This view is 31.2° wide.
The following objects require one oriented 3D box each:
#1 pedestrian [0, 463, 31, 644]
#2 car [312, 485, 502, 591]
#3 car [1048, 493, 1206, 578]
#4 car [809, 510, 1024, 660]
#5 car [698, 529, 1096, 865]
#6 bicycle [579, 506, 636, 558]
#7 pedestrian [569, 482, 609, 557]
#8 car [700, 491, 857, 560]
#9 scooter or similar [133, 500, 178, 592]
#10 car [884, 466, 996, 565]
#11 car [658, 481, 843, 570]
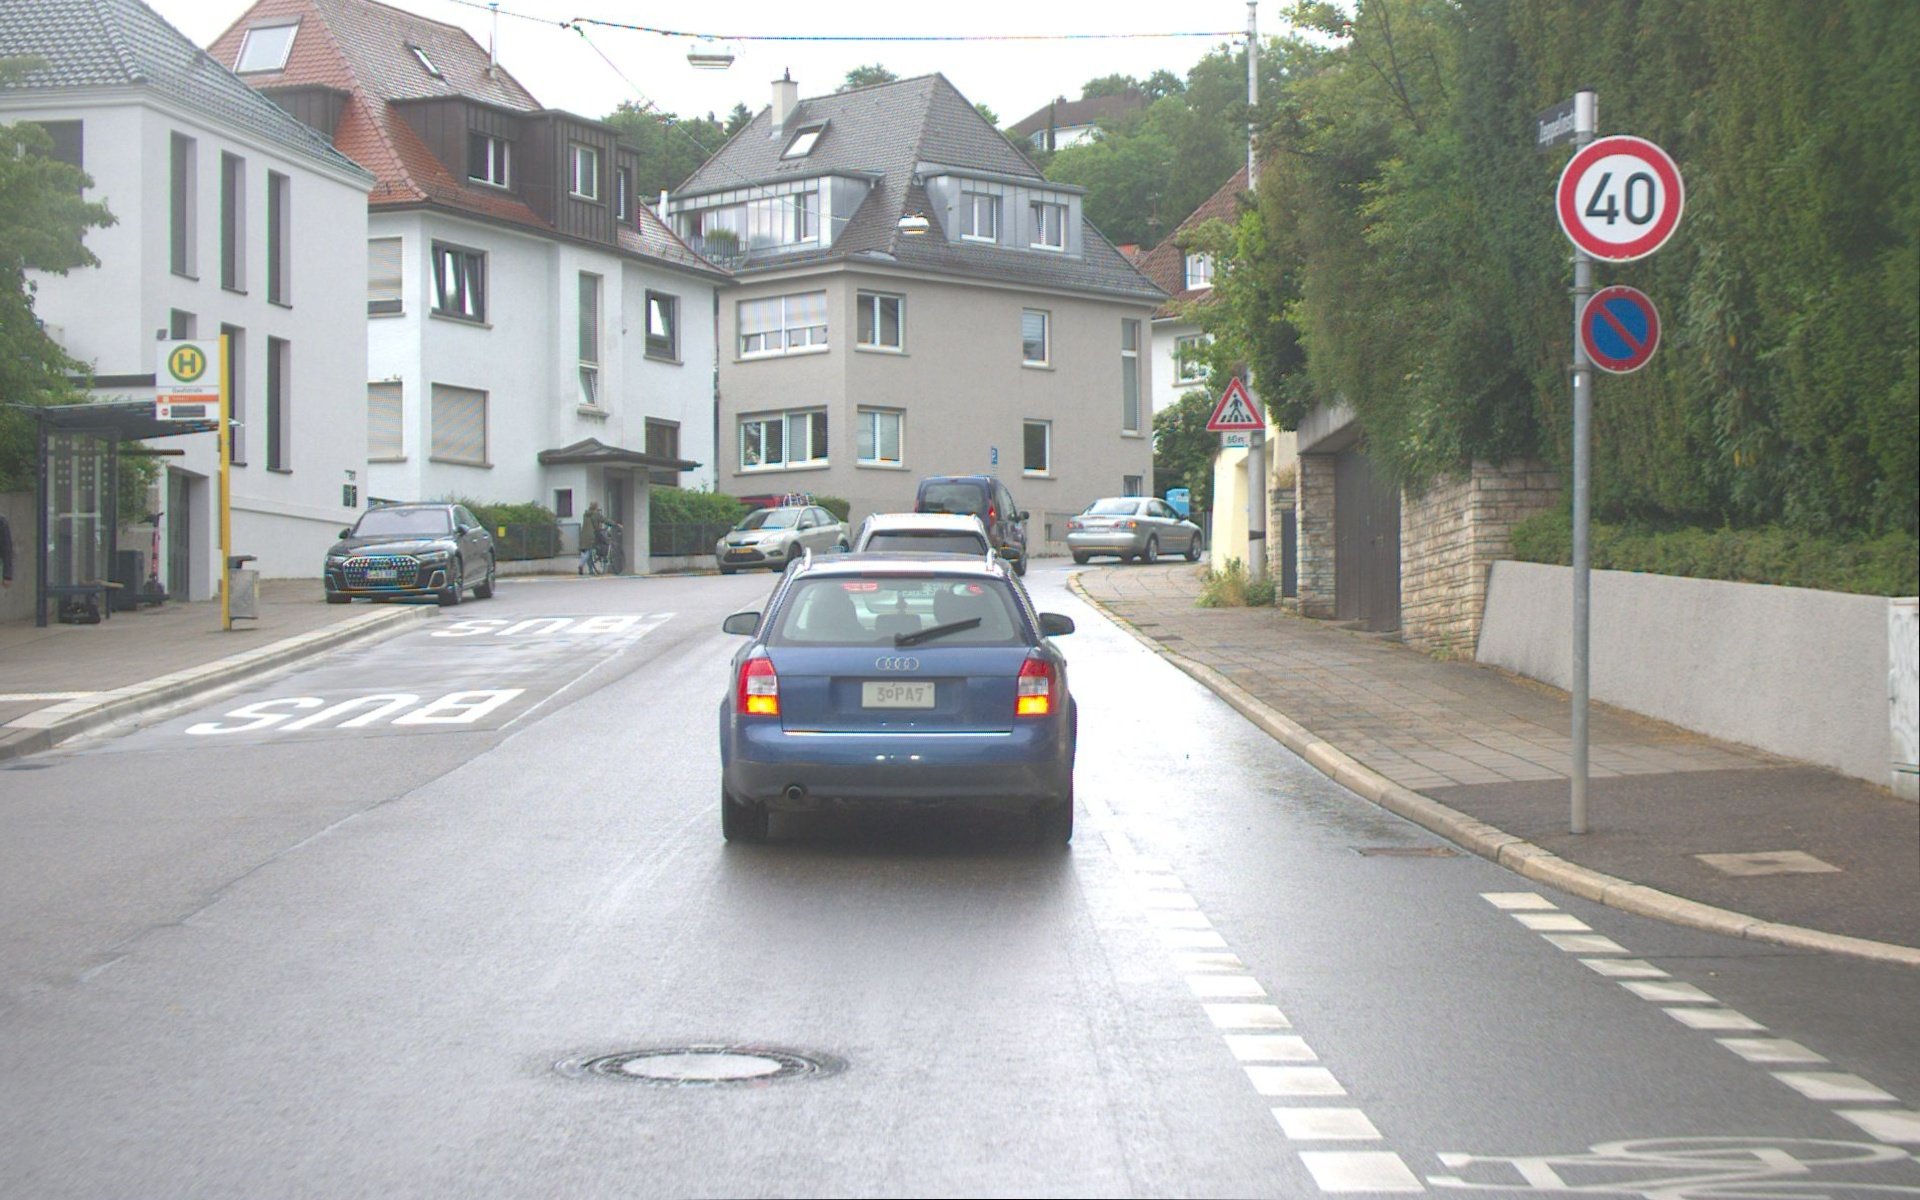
[{"bbox_3d":[-10.093,-0.488,35.534,0.786,1.850,0.728,1,1,-1],"label":"pedestrian"},{"bbox_3d":[-8.179,-0.946,51.266,1.829,1.480,4.991,-1,1,2],"label":"car"},{"bbox_3d":[3.624,-1.405,74.008,1.931,1.700,3.995,-1,2,26],"label":"car"},{"bbox_3d":[-0.492,-0.162,33.894,1.811,1.356,4.001,1,1,-5],"label":"car"},{"bbox_3d":[-0.296,0.409,17.917,1.811,1.434,4.082,1,2,0],"label":"car"},{"bbox_3d":[-7.474,-1.445,72.898,0.456,1.063,1.920,0,2,18],"label":"bicycle"},{"bbox_3d":[-7.893,-1.725,73.153,0.493,1.571,0.947,0,2,18],"label":"pedestrian"},{"bbox_3d":[-4.001,-1.673,76.457,1.838,1.420,4.225,-2,1,21],"label":"car"},{"bbox_3d":[-10.827,-0.733,46.271,0.337,1.215,1.123,0,2,0],"label":"scooter or similar"},{"bbox_3d":[-0.369,-1.533,62.483,1.928,1.700,4.000,-1,1,0],"label":"car"},{"bbox_3d":[-5.218,-1.859,85.570,3.992,1.816,1.997,-5,0,28],"label":"car"}]
